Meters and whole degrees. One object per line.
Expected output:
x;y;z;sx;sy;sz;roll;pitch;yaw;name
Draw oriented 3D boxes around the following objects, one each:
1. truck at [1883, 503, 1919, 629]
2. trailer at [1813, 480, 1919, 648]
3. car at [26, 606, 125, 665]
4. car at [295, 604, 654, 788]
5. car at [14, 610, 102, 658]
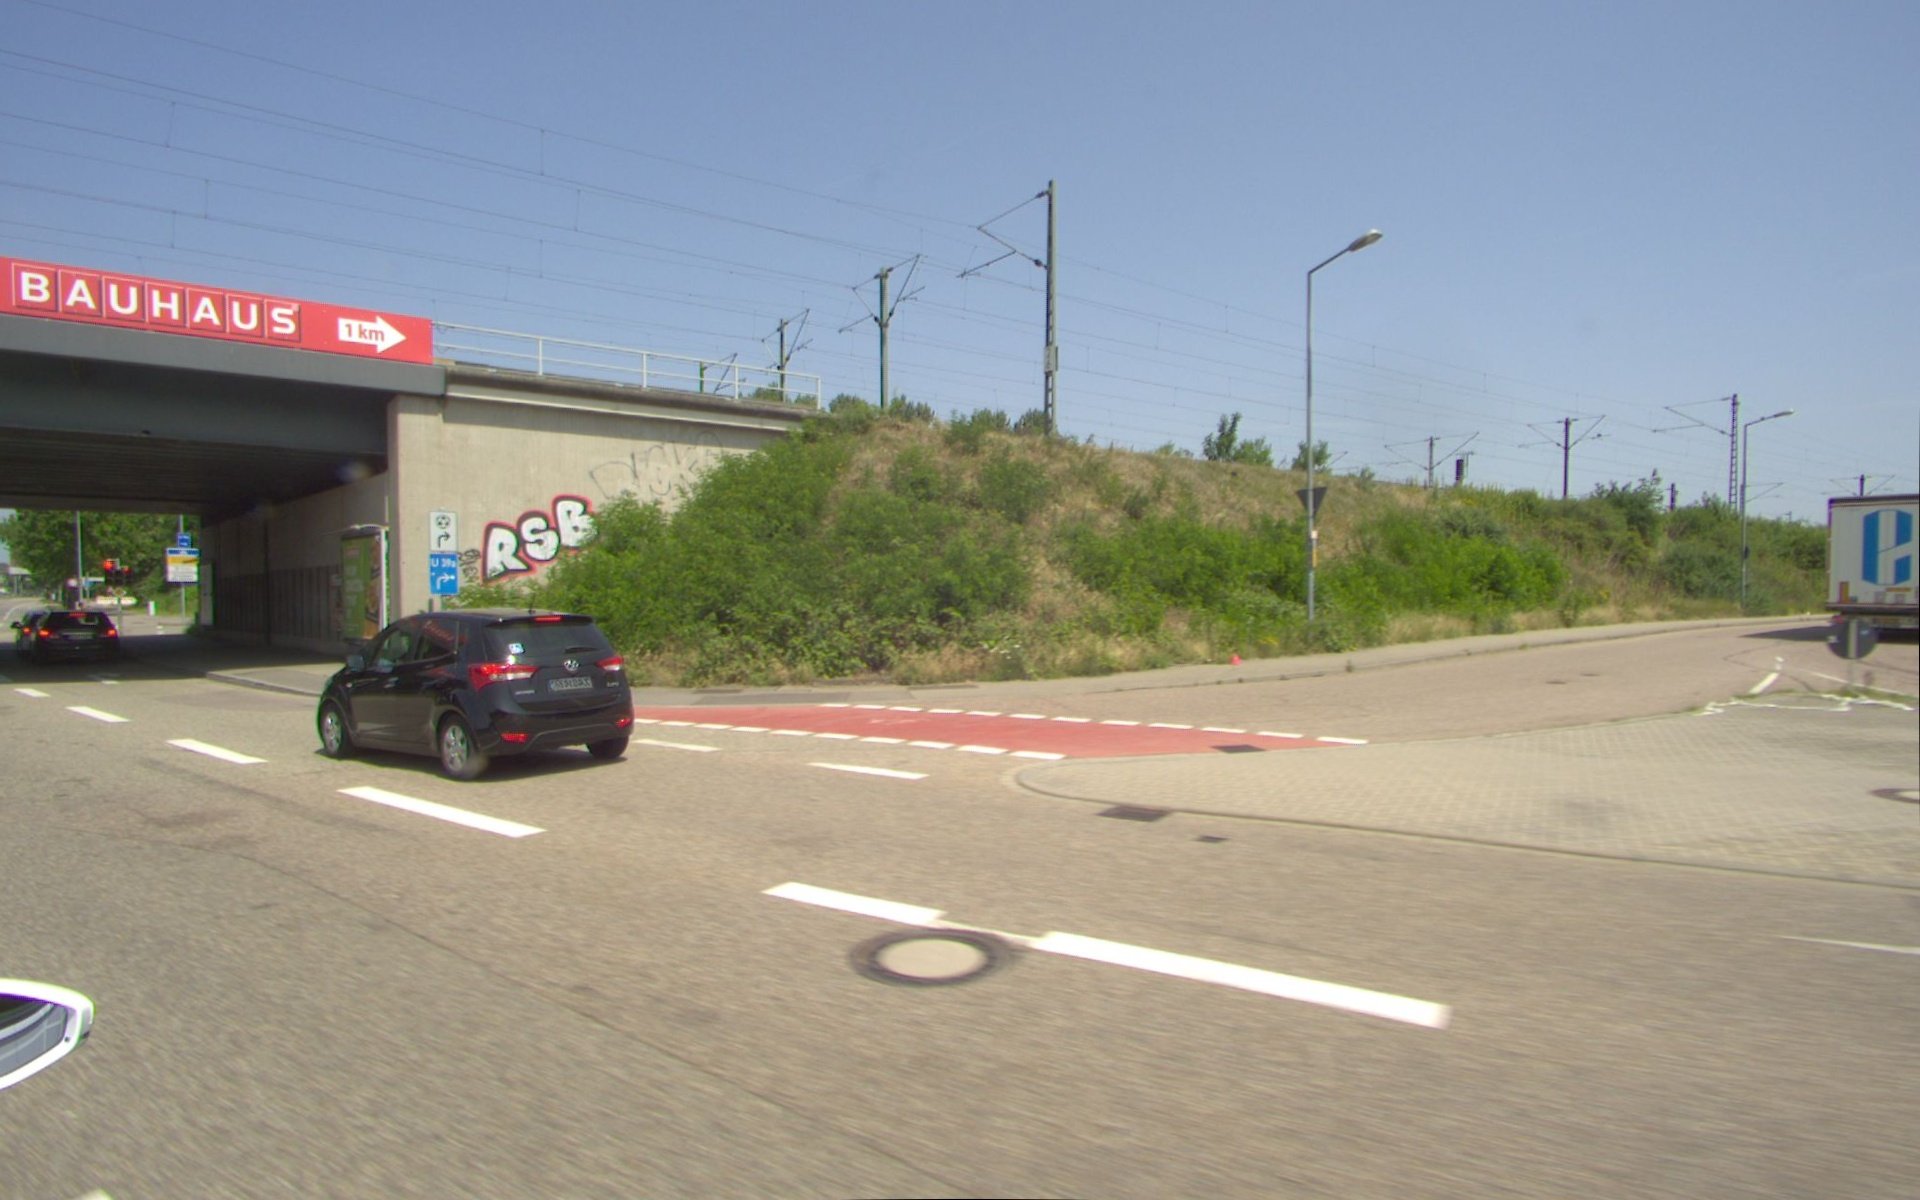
36.519;-1.229;36.784;6.009;4.428;3.059;-1;2;-40;truck
30.490;-1.082;31.599;14.606;4.428;3.061;-1;2;-40;trailer
-25.617;0.990;28.970;3.958;1.589;1.830;-1;-1;44;car
-5.275;0.859;10.718;4.023;1.620;1.762;0;0;35;car
-30.181;1.104;33.473;3.957;1.508;1.894;-1;-1;44;car
